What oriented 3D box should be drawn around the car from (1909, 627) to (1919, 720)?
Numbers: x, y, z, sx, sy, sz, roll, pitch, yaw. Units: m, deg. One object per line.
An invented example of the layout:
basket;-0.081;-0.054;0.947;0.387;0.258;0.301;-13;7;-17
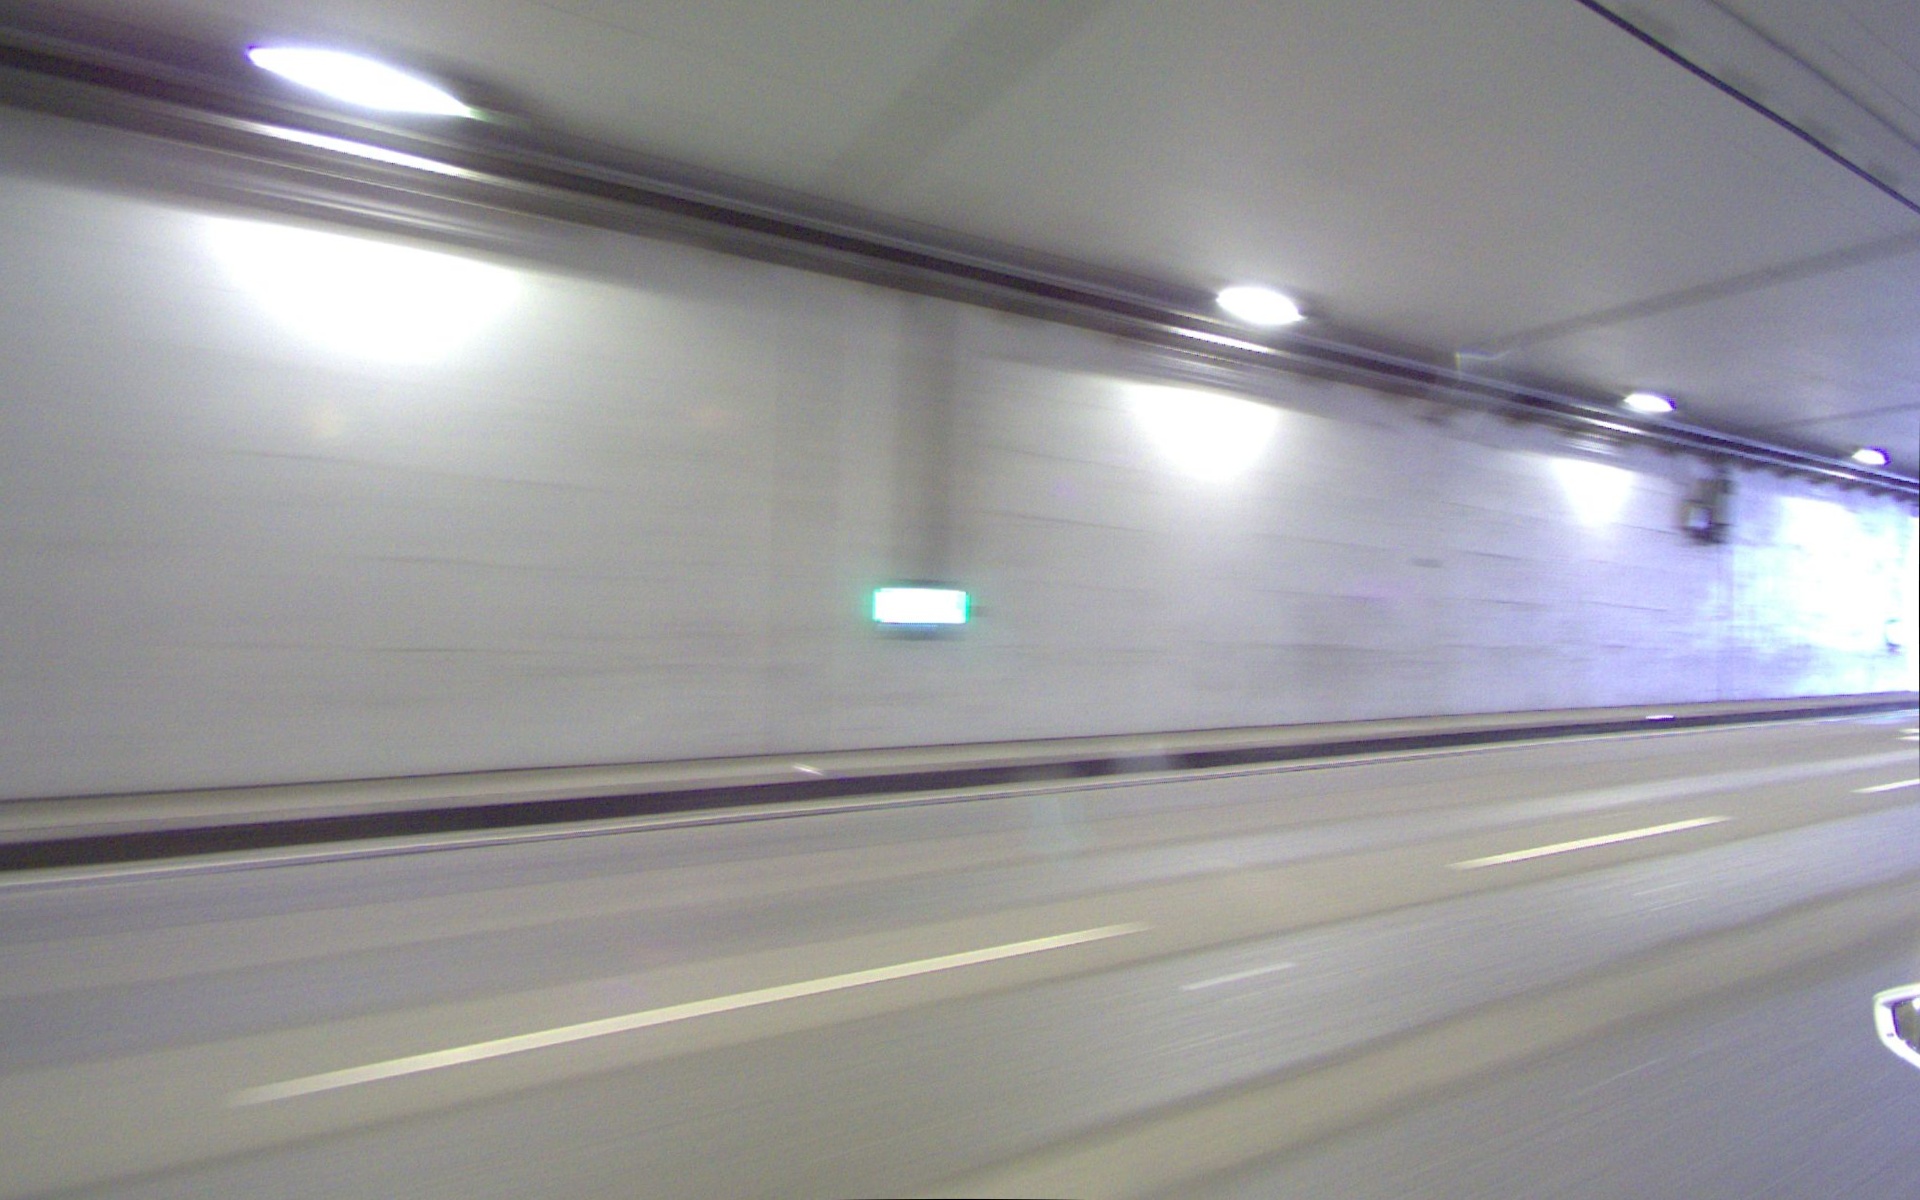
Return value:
car;17.240;1.246;16.423;3.532;1.474;1.603;2;1;-32
